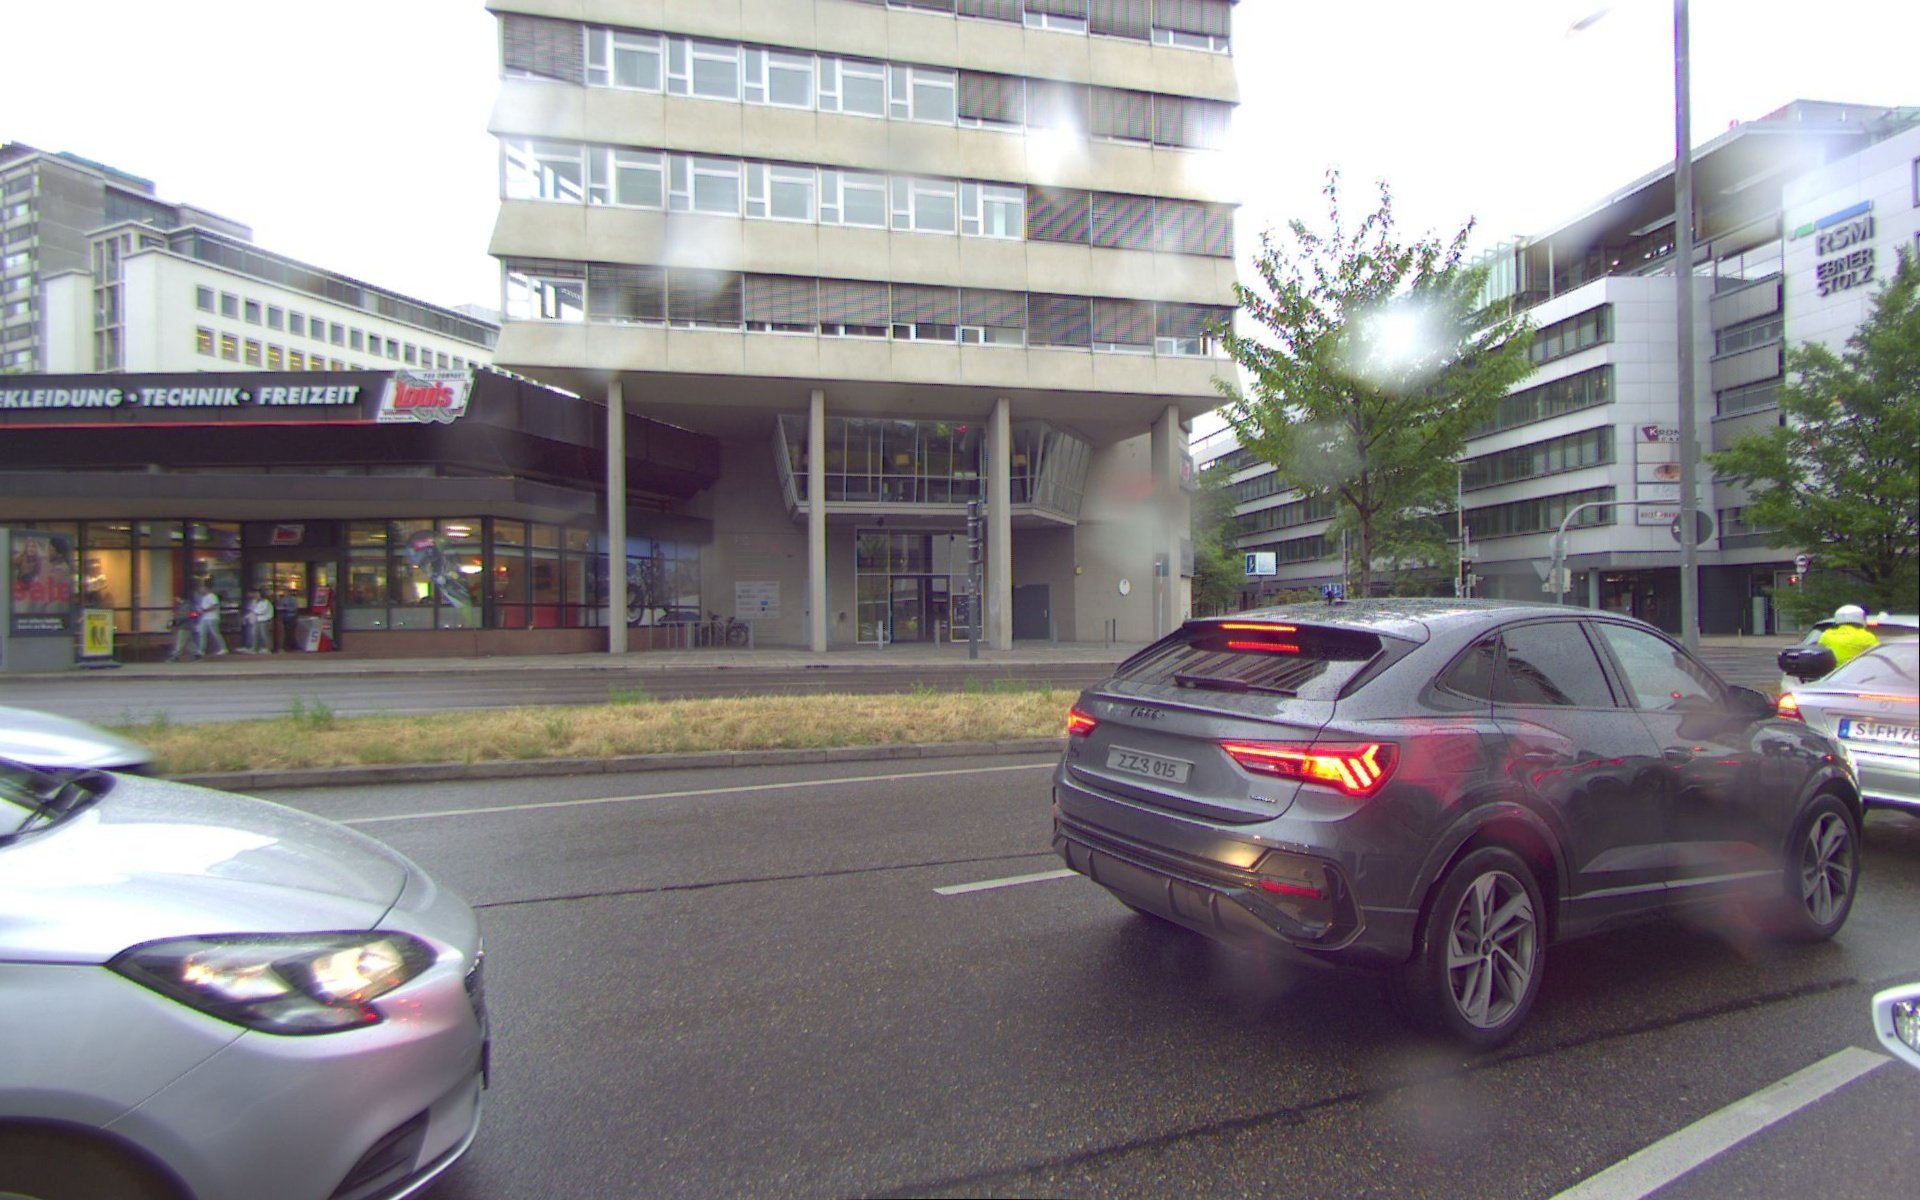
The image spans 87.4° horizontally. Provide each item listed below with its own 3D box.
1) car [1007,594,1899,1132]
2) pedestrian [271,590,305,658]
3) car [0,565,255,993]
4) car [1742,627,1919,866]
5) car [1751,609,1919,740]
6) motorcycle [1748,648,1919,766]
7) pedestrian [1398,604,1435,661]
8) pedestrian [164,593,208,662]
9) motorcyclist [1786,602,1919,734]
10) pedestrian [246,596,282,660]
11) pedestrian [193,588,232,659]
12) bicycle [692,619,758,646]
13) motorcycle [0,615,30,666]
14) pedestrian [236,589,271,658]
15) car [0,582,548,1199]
[{"bbox_3d":[2.435,0.782,4.656,4.220,1.542,1.640,1,0,-30],"label":"car"},{"bbox_3d":[-17.652,0.623,26.403,0.548,1.767,0.541,1,0,-9],"label":"pedestrian"},{"bbox_3d":[-5.462,0.618,3.524,4.722,1.554,1.856,1,0,-31],"label":"car"},{"bbox_3d":[7.644,0.963,7.069,4.050,1.426,1.567,2,0,-22],"label":"car"},{"bbox_3d":[12.636,0.932,13.210,3.940,1.506,1.704,2,0,-21],"label":"car"},{"bbox_3d":[9.924,1.169,11.256,1.998,1.200,0.799,2,0,-21],"label":"motorcycle"},{"bbox_3d":[13.860,0.982,30.482,0.751,1.706,0.677,1,0,-16],"label":"pedestrian"},{"bbox_3d":[-18.646,0.648,24.218,0.601,1.633,0.614,1,0,-9],"label":"pedestrian"},{"bbox_3d":[10.103,0.746,11.322,1.102,1.398,0.768,2,0,-21],"label":"motorcyclist"},{"bbox_3d":[-17.579,0.708,25.379,0.548,1.591,0.541,1,0,-9],"label":"pedestrian"},{"bbox_3d":[-18.864,0.581,25.353,0.548,1.767,0.614,1,0,-9],"label":"pedestrian"},{"bbox_3d":[-8.003,1.123,34.241,2.165,0.871,0.456,2,0,-31],"label":"bicycle"},{"bbox_3d":[-23.526,0.984,24.190,0.353,1.249,1.669,1,0,20],"label":"motorcycle"},{"bbox_3d":[-18.206,0.604,25.895,0.548,1.767,0.541,1,0,-9],"label":"pedestrian"},{"bbox_3d":[-2.875,0.676,1.698,3.831,1.455,1.639,1,0,-32],"label":"car"}]
